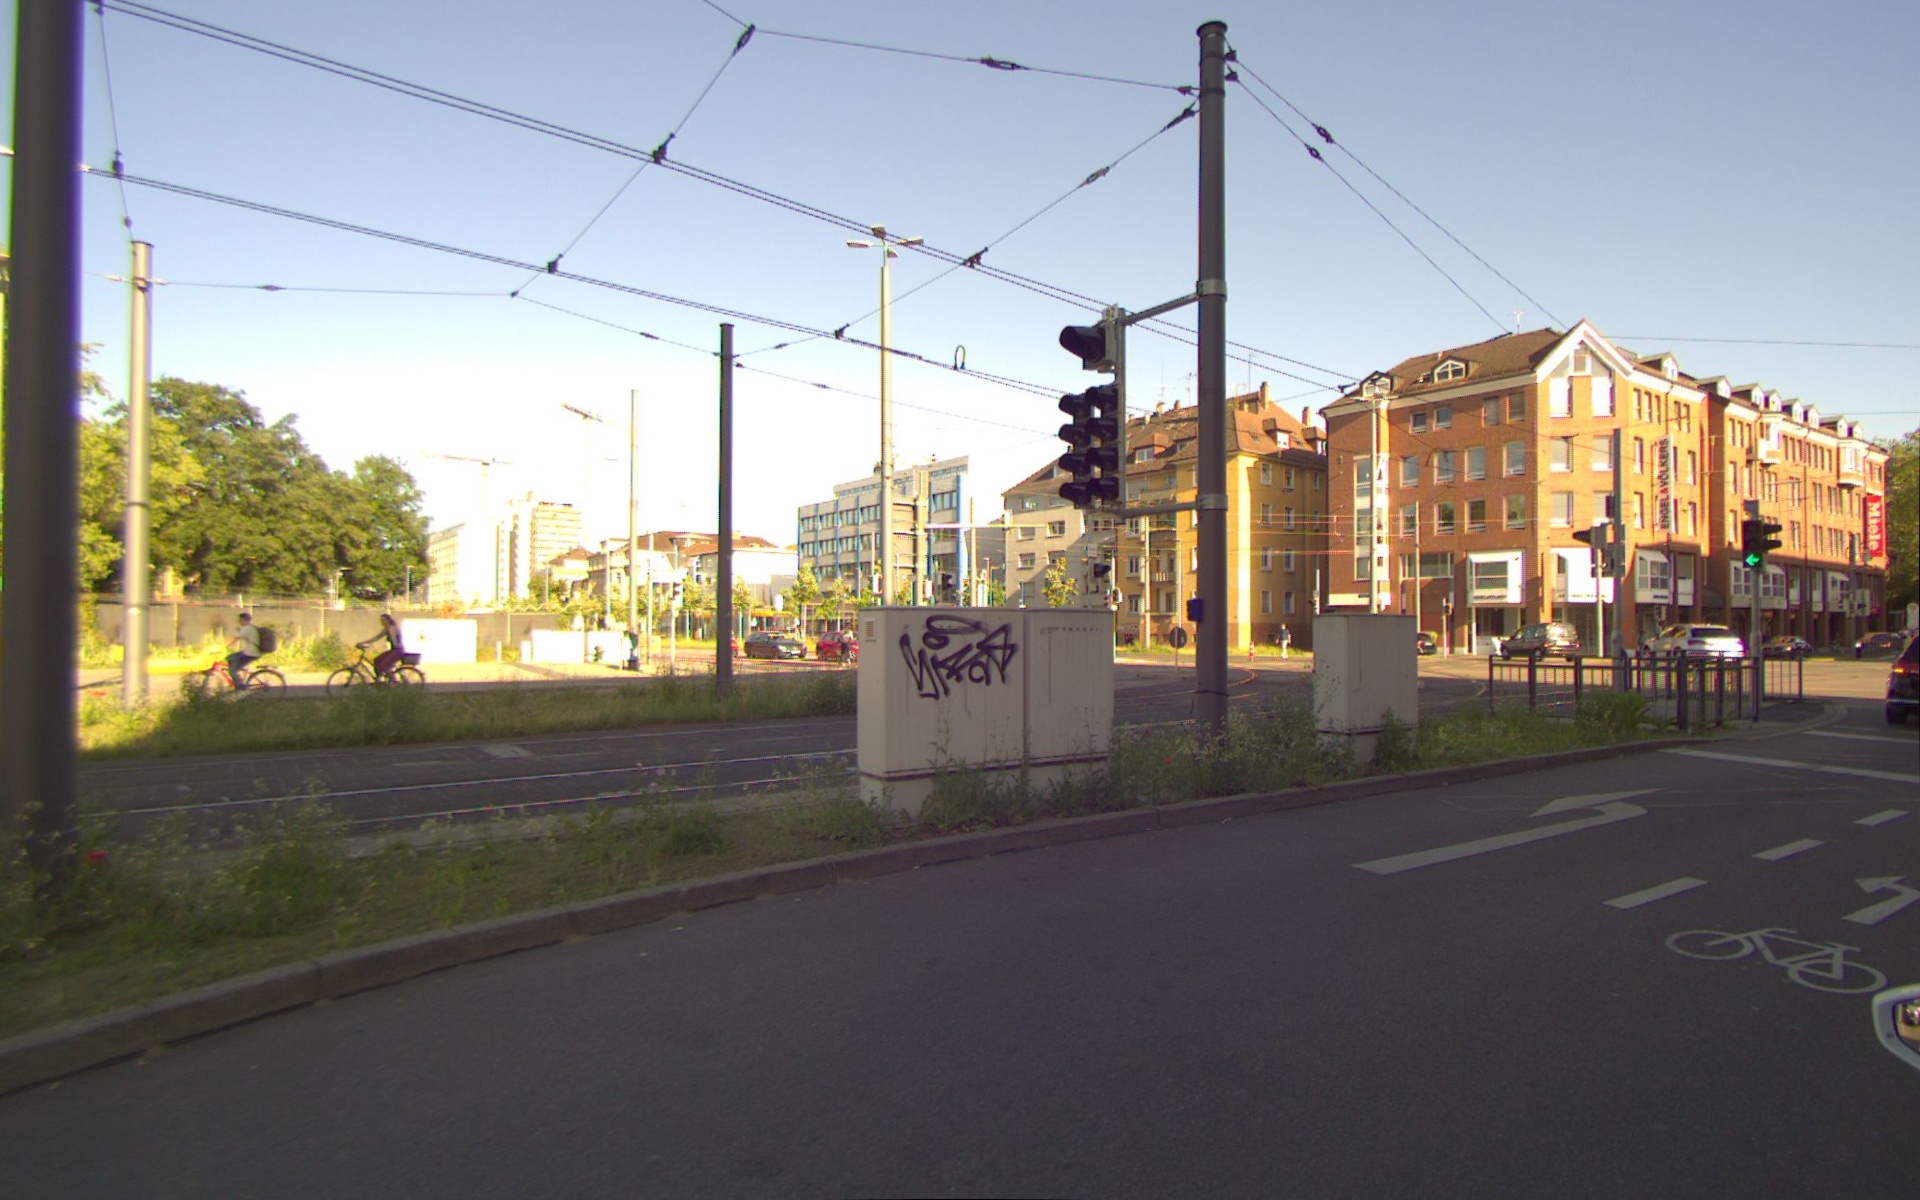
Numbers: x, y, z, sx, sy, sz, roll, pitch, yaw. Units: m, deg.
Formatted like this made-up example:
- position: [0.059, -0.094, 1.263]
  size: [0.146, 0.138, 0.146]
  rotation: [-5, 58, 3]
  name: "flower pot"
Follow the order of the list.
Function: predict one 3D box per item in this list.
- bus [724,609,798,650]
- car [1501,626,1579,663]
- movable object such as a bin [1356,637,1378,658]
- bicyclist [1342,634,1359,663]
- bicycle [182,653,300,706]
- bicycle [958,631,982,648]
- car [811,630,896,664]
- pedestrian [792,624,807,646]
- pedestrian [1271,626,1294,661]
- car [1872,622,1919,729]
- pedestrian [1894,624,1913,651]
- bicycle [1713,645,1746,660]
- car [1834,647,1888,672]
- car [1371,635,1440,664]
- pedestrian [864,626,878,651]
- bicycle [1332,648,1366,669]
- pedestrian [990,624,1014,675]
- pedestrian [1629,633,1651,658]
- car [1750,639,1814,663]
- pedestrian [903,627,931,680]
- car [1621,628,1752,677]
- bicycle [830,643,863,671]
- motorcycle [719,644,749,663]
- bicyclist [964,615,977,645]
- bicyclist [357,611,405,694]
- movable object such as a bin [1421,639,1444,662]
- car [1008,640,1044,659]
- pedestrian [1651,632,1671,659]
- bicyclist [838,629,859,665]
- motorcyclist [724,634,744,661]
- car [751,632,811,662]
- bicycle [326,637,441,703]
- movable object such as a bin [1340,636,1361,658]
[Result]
- position: [-18.637, 2.743, 93.517]
  size: [2.925, 3.610, 9.329]
  rotation: [2, -2, -37]
  name: "bus"
- position: [27.139, 2.080, 47.122]
  size: [1.546, 1.639, 3.785]
  rotation: [1, -2, 1]
  name: "car"
- position: [27.808, 3.249, 68.668]
  size: [1.088, 1.455, 0.987]
  rotation: [2, -2, -41]
  name: "movable object such as a bin"
- position: [25.118, 3.126, 64.671]
  size: [0.609, 1.795, 0.821]
  rotation: [2, -2, -38]
  name: "bicyclist"
- position: [-14.654, 1.604, 20.530]
  size: [1.863, 1.026, 0.646]
  rotation: [2, -2, -30]
  name: "bicycle"
- position: [0.465, 1.812, 45.981]
  size: [1.159, 0.774, 0.318]
  rotation: [0, -2, 43]
  name: "bicycle"
- position: [-5.073, 2.243, 47.591]
  size: [1.769, 1.529, 4.511]
  rotation: [2, -4, -41]
  name: "car"
- position: [-14.892, 3.230, 93.276]
  size: [0.997, 2.036, 0.919]
  rotation: [0, -2, 44]
  name: "pedestrian"
- position: [16.326, 2.208, 50.787]
  size: [0.922, 1.733, 0.690]
  rotation: [2, -2, -38]
  name: "pedestrian"
- position: [15.103, 1.089, 14.913]
  size: [4.492, 1.463, 1.750]
  rotation: [2, -1, -40]
  name: "car"
- position: [56.235, 2.213, 59.859]
  size: [0.575, 1.584, 0.635]
  rotation: [1, -1, -15]
  name: "pedestrian"
- position: [51.543, 3.508, 67.272]
  size: [0.516, 0.912, 1.699]
  rotation: [2, -2, -35]
  name: "bicycle"
- position: [57.451, 3.802, 64.006]
  size: [3.756, 1.564, 1.805]
  rotation: [2, -4, -36]
  name: "car"
- position: [25.528, 2.825, 57.666]
  size: [1.705, 1.571, 3.457]
  rotation: [2, -2, -21]
  name: "car"
- position: [-7.548, 3.262, 84.859]
  size: [0.796, 2.036, 0.798]
  rotation: [0, -2, 43]
  name: "pedestrian"
- position: [25.051, 3.757, 64.745]
  size: [0.623, 1.239, 2.019]
  rotation: [2, -2, -37]
  name: "bicycle"
- position: [1.636, 1.930, 39.356]
  size: [0.784, 1.959, 0.724]
  rotation: [1, -1, -11]
  name: "pedestrian"
- position: [44.684, 2.978, 66.006]
  size: [0.848, 1.589, 0.886]
  rotation: [1, -1, -9]
  name: "pedestrian"
- position: [51.289, 3.177, 62.660]
  size: [3.931, 1.472, 1.809]
  rotation: [2, -4, -30]
  name: "car"
- position: [-1.430, 1.741, 33.179]
  size: [0.701, 1.711, 0.618]
  rotation: [0, 0, -44]
  name: "pedestrian"
- position: [26.232, 1.866, 36.377]
  size: [1.817, 1.656, 3.471]
  rotation: [2, -2, -19]
  name: "car"
- position: [-4.802, 2.391, 42.385]
  size: [0.608, 1.148, 1.480]
  rotation: [3, -2, -45]
  name: "bicycle"
- position: [-12.930, 3.065, 57.386]
  size: [0.784, 0.997, 2.341]
  rotation: [2, -2, -38]
  name: "motorcycle"
- position: [0.490, 1.381, 45.976]
  size: [0.453, 1.333, 0.398]
  rotation: [0, -2, 43]
  name: "bicyclist"
- position: [-11.998, 1.077, 20.809]
  size: [0.798, 1.670, 0.585]
  rotation: [2, -2, -33]
  name: "bicyclist"
- position: [30.540, 3.239, 64.921]
  size: [1.088, 1.455, 0.987]
  rotation: [2, -2, -41]
  name: "movable object such as a bin"
- position: [6.043, 4.528, 92.144]
  size: [1.550, 1.639, 3.283]
  rotation: [2, -2, -37]
  name: "car"
- position: [42.615, 2.759, 61.071]
  size: [0.769, 1.615, 0.707]
  rotation: [2, 1, -34]
  name: "pedestrian"
- position: [-4.708, 1.970, 42.307]
  size: [0.608, 1.513, 0.606]
  rotation: [0, -2, 45]
  name: "bicyclist"
- position: [-12.939, 2.710, 57.405]
  size: [0.775, 1.544, 0.913]
  rotation: [2, -2, -38]
  name: "motorcyclist"
- position: [-9.506, 2.473, 53.097]
  size: [1.561, 1.491, 3.672]
  rotation: [2, -2, -38]
  name: "car"
- position: [-11.943, 1.438, 20.838]
  size: [2.005, 1.308, 0.570]
  rotation: [2, -2, -34]
  name: "bicycle"
- position: [26.985, 3.235, 69.371]
  size: [1.088, 1.455, 0.987]
  rotation: [2, -2, -41]
  name: "movable object such as a bin"
